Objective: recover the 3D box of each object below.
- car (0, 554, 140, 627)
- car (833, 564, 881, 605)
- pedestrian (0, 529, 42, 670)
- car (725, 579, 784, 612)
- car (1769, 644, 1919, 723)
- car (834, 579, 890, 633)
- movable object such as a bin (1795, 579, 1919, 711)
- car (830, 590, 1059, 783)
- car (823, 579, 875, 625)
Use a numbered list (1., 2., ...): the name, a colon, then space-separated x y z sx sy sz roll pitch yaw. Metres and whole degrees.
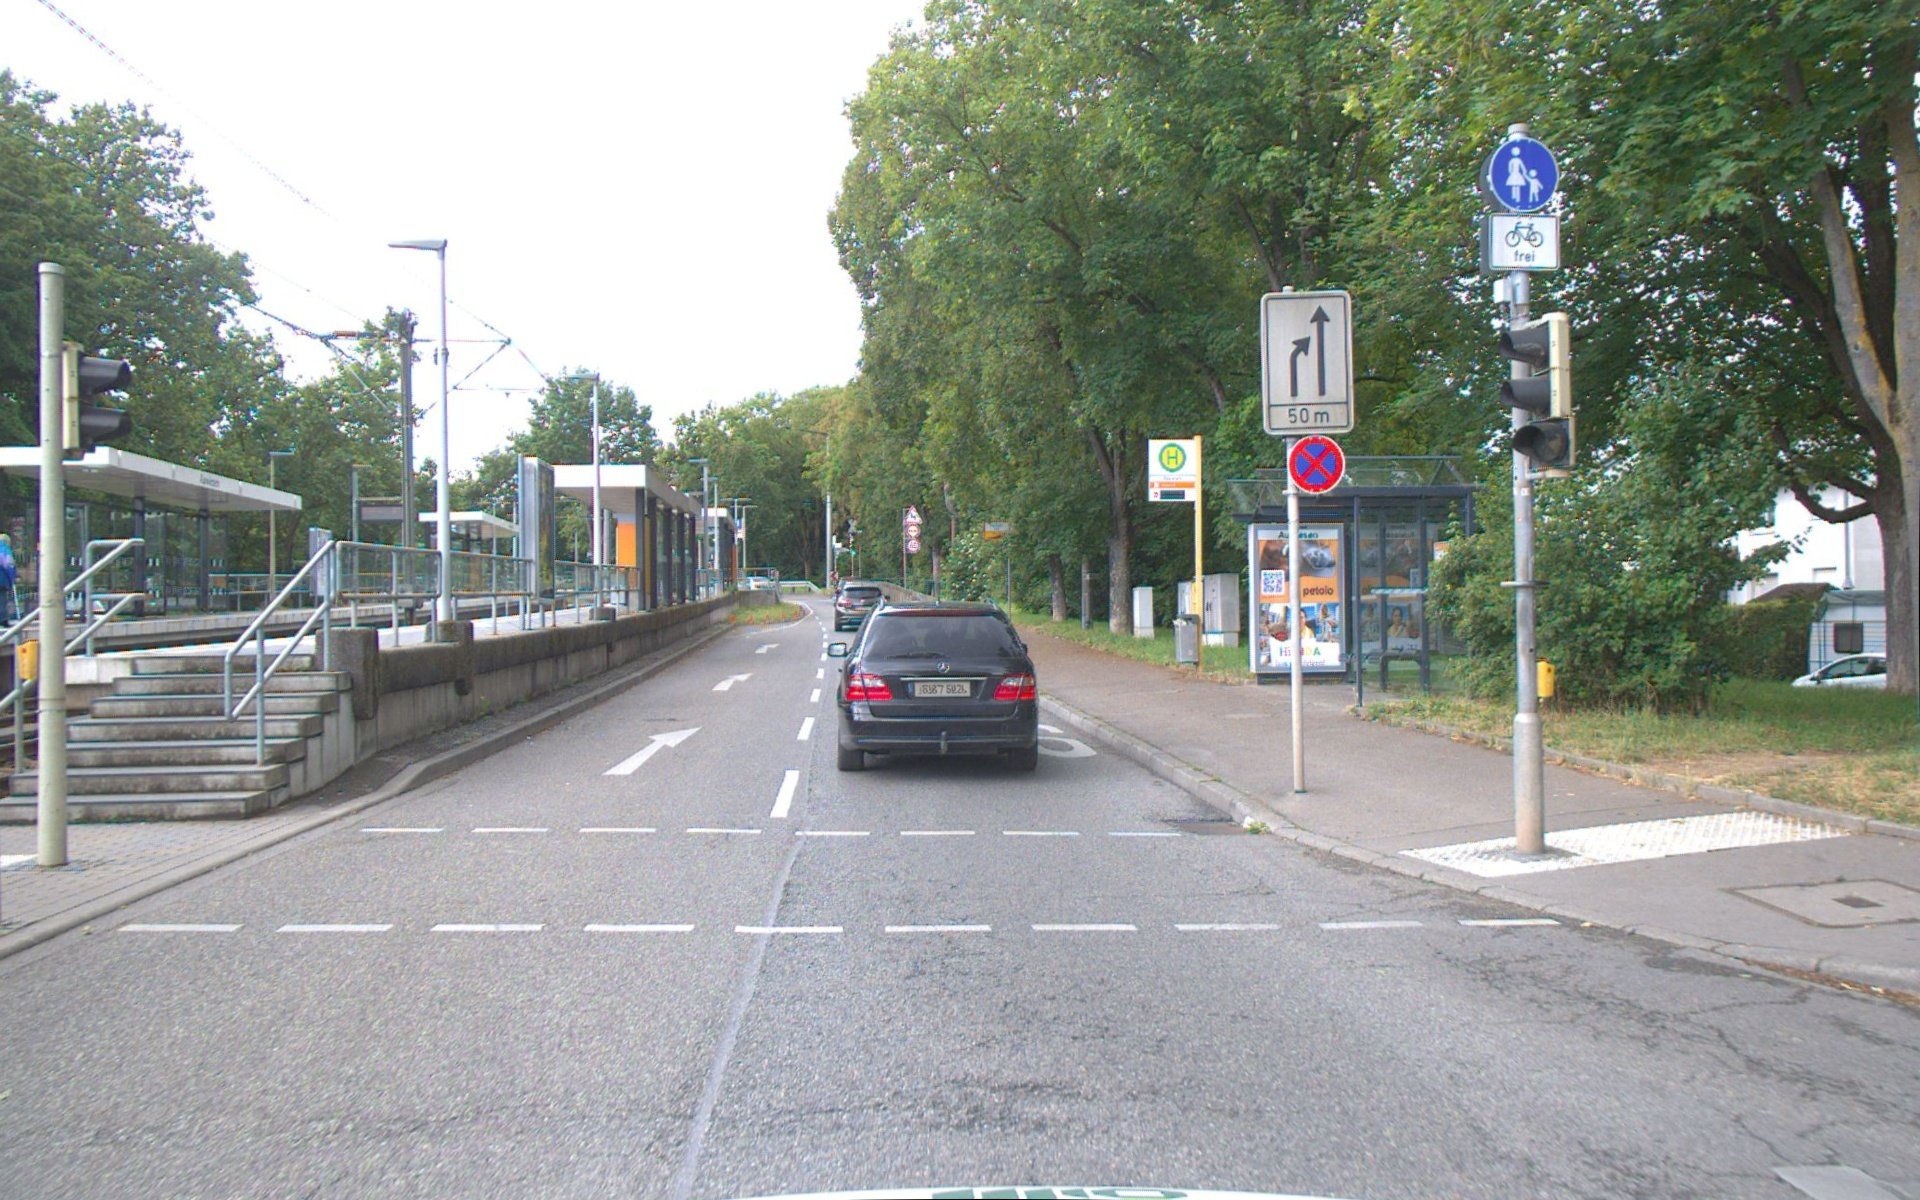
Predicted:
1. car: -23.511 -0.214 43.784 1.677 1.782 4.395 -2 -1 -5
2. car: -5.123 -0.739 81.749 1.956 1.952 3.992 1 -1 -9
3. pedestrian: -15.566 -0.005 26.695 0.950 2.224 0.975 -1 0 -4
4. car: -12.624 -0.292 101.373 1.976 1.926 3.952 2 -1 -34
5. car: 18.277 1.649 33.307 1.453 1.410 3.825 1 -1 -15
6. car: -3.181 0.187 54.153 1.746 1.677 3.998 -1 0 -3
7. movable object such as a bin: 20.359 0.936 34.273 1.959 2.669 6.252 1 -1 -12
8. car: -0.275 0.707 15.395 1.747 1.552 3.995 1 0 -6
9. car: -4.321 0.099 64.107 1.748 1.677 3.993 1 -1 -7
